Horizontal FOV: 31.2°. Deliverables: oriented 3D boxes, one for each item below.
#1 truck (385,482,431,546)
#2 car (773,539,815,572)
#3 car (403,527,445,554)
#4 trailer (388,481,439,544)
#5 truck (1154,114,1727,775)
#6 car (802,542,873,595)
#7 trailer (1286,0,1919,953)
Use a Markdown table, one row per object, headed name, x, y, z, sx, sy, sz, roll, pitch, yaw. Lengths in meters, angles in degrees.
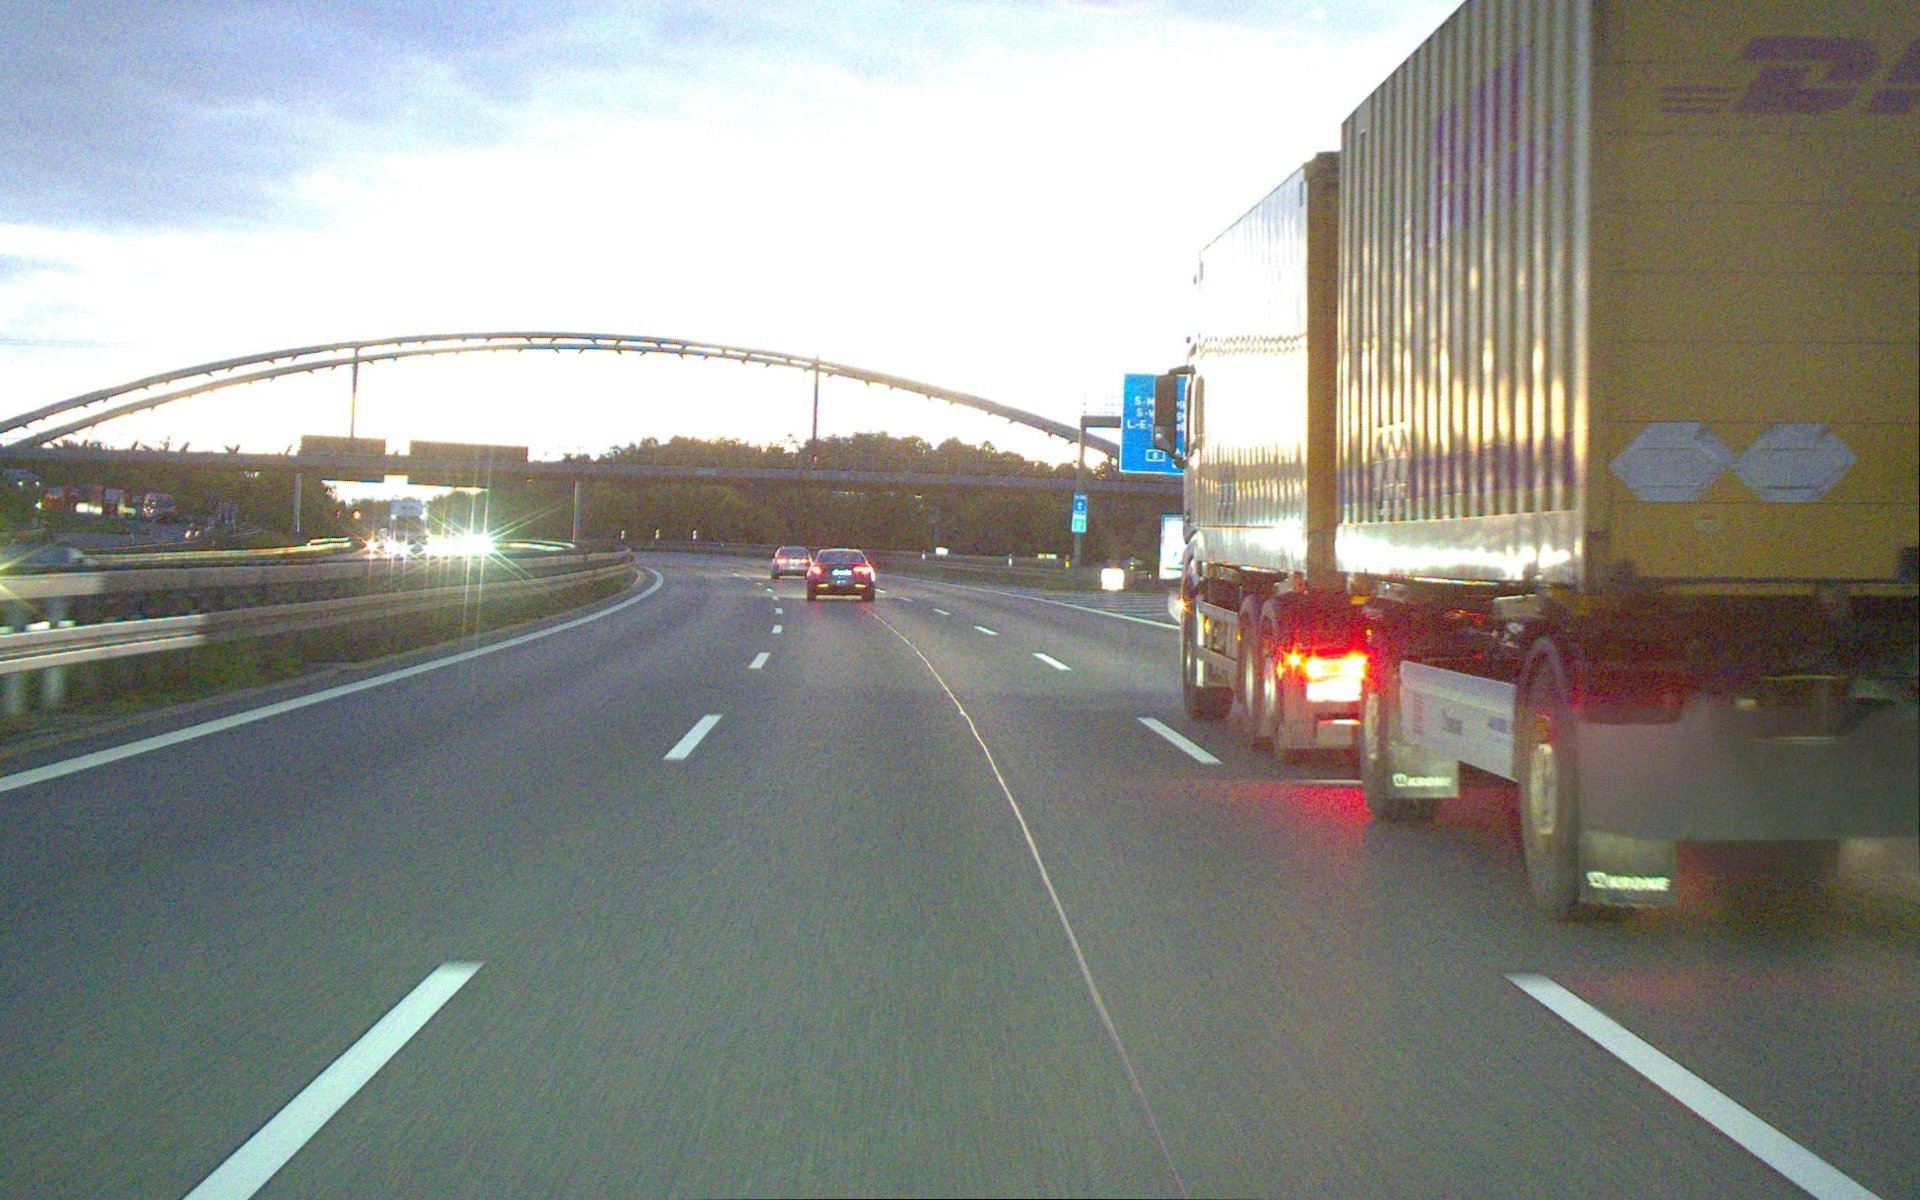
| name | x | y | z | sx | sy | sz | roll | pitch | yaw |
| --- | --- | --- | --- | --- | --- | --- | --- | --- | --- |
| truck | -39.274 | -6.128 | 244.880 | 2.824 | 4.491 | 6.246 | 0 | 1 | -6 |
| car | -7.383 | -1.970 | 152.891 | 1.689 | 1.397 | 3.408 | 0 | -1 | 0 |
| car | -33.401 | -3.722 | 214.505 | 1.993 | 1.619 | 4.844 | 1 | 1 | -2 |
| trailer | -39.910 | -6.366 | 251.340 | 2.824 | 4.491 | 14.631 | 0 | 1 | -6 |
| truck | 3.265 | -1.063 | 26.519 | 2.690 | 4.057 | 10.521 | 1 | 1 | -1 |
| car | -3.429 | -0.869 | 95.708 | 1.689 | 1.396 | 3.409 | 1 | 0 | -7 |
| trailer | 3.485 | -0.842 | 16.817 | 2.721 | 4.057 | 8.832 | 1 | 1 | -1 |
